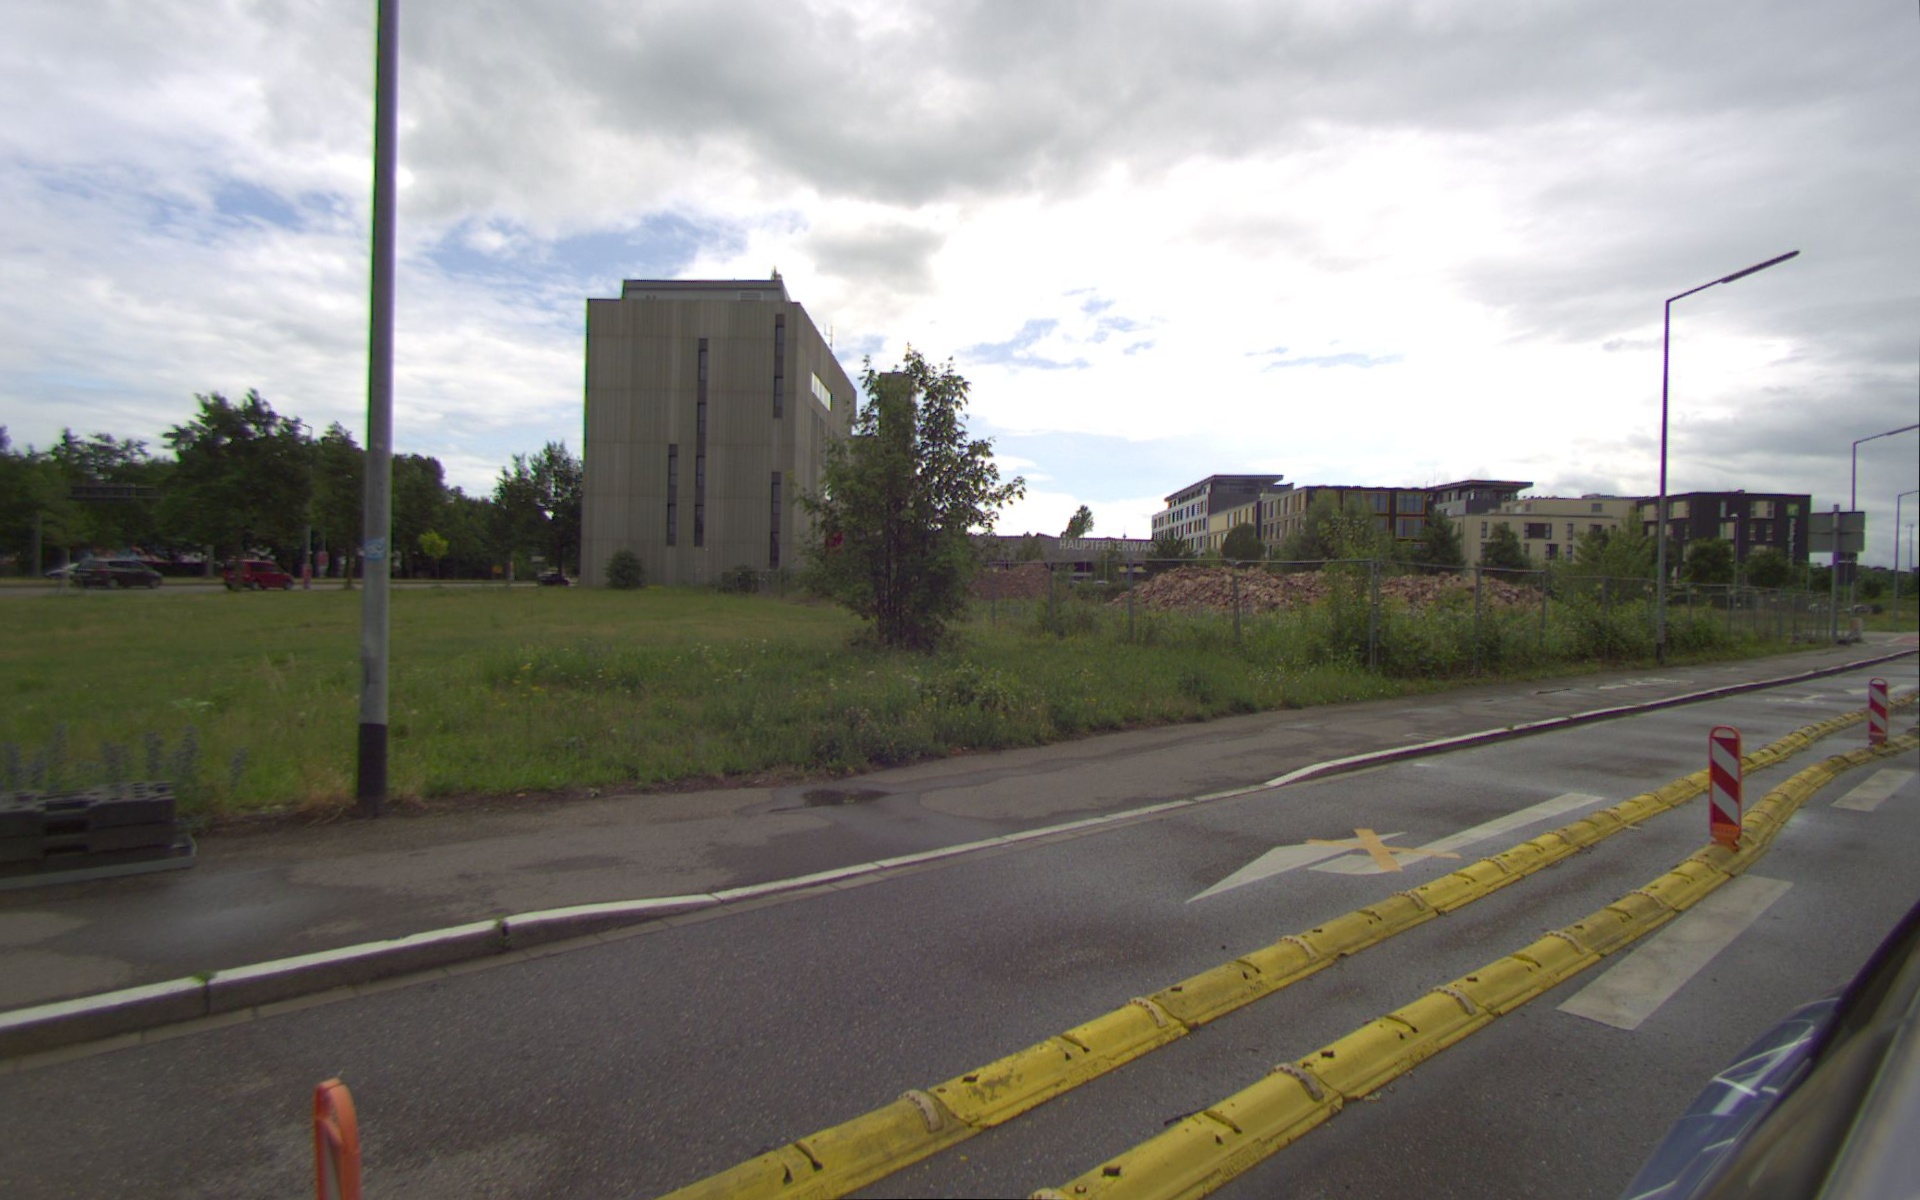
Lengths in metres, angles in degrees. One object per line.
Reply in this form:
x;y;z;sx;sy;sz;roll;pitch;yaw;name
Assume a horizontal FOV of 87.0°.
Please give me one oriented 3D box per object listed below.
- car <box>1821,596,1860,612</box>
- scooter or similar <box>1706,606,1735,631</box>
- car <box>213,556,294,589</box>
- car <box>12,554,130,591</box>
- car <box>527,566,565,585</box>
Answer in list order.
127.600;0.563;146.684;3.925;2.039;2.000;2;1;1;car
38.785;0.924;51.634;0.437;1.200;1.327;1;1;0;scooter or similar
-43.365;-1.674;62.223;2.075;1.941;4.209;1;1;-1;car
-46.704;-1.424;53.305;2.077;1.818;4.605;1;1;3;car
-40.460;-2.377;98.950;2.038;1.836;4.209;1;1;-1;car
